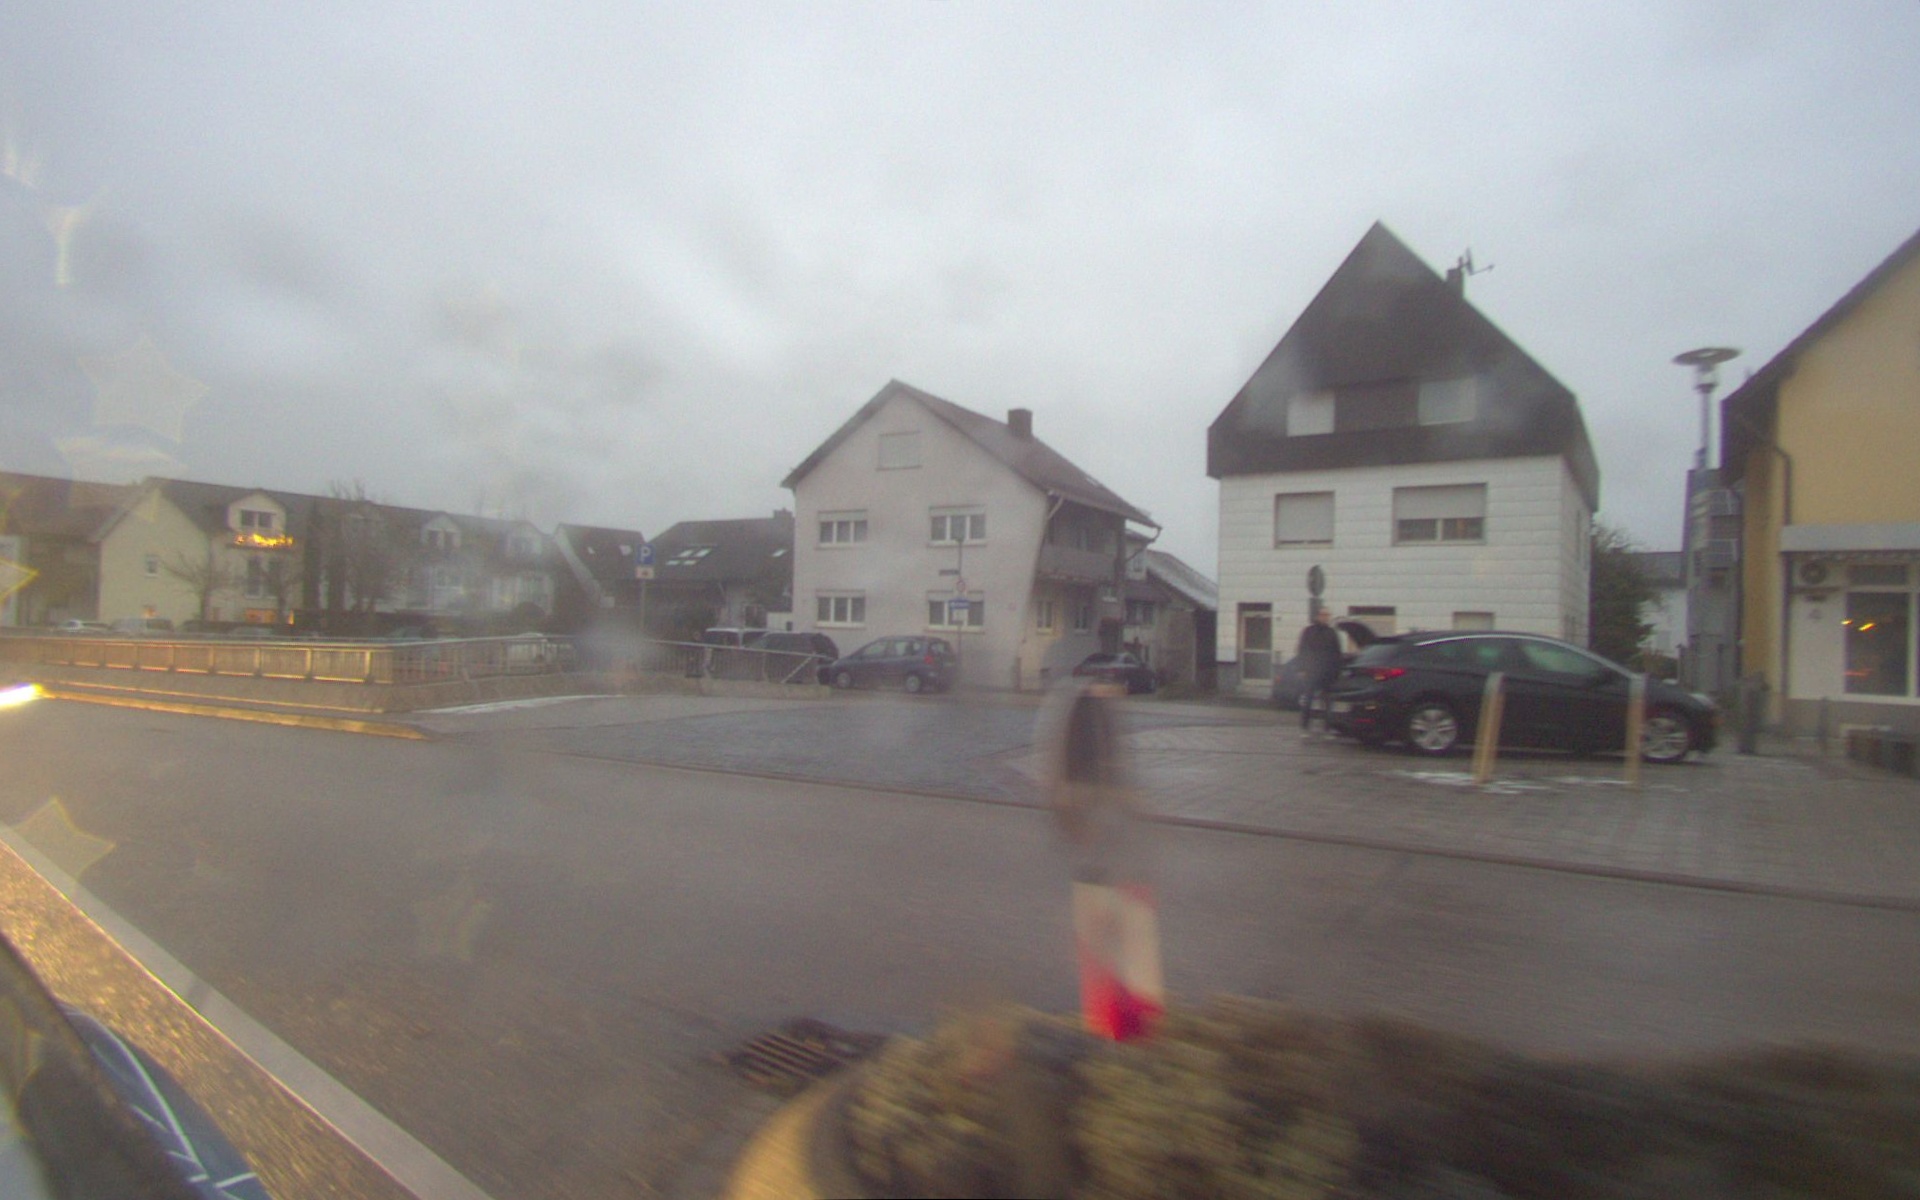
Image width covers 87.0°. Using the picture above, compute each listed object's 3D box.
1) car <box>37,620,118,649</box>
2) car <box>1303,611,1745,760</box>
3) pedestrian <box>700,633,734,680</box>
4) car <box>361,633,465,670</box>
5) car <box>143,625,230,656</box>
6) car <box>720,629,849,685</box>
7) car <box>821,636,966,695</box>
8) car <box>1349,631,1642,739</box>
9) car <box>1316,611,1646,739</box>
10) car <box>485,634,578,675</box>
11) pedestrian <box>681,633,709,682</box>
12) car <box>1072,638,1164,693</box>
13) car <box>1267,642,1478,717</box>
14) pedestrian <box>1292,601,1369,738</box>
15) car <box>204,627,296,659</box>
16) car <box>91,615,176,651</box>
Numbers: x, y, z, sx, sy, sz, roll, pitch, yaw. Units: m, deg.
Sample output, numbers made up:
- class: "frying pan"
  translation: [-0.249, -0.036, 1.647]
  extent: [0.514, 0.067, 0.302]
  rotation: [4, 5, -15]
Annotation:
- class: "car"
  translation: [-49.028, 1.913, 56.224]
  extent: [3.989, 1.480, 1.664]
  rotation: [0, -4, 22]
- class: "car"
  translation: [6.469, 0.955, 11.979]
  extent: [4.122, 1.543, 1.914]
  rotation: [1, -2, 1]
- class: "pedestrian"
  translation: [-6.687, 1.542, 27.860]
  extent: [0.601, 1.259, 0.685]
  rotation: [-1, -2, 34]
- class: "car"
  translation: [-23.608, 2.189, 43.656]
  extent: [4.234, 1.480, 1.784]
  rotation: [0, -2, 26]
- class: "car"
  translation: [-39.543, 2.064, 51.712]
  extent: [4.234, 1.480, 1.784]
  rotation: [0, -2, 26]
- class: "car"
  translation: [-5.696, 1.794, 32.765]
  extent: [3.943, 1.673, 1.687]
  rotation: [0, -1, 30]
- class: "car"
  translation: [-2.016, 1.903, 30.274]
  extent: [4.081, 1.581, 1.760]
  rotation: [0, -1, 33]
- class: "car"
  translation: [8.856, 1.403, 17.072]
  extent: [3.954, 1.644, 1.760]
  rotation: [0, -4, 9]
- class: "car"
  translation: [7.464, 1.081, 14.857]
  extent: [3.847, 1.683, 1.838]
  rotation: [1, -4, 4]
- class: "car"
  translation: [-16.760, 2.105, 39.572]
  extent: [3.488, 1.520, 1.464]
  rotation: [0, -2, 29]
- class: "pedestrian"
  translation: [-7.107, 1.537, 27.113]
  extent: [0.594, 1.312, 0.511]
  rotation: [0, -2, 1]
- class: "car"
  translation: [5.445, 2.270, 34.510]
  extent: [1.712, 1.695, 3.958]
  rotation: [2, -4, 31]
- class: "car"
  translation: [10.030, 1.870, 24.768]
  extent: [4.417, 1.511, 1.893]
  rotation: [-2, 1, 38]
- class: "pedestrian"
  translation: [4.877, 0.909, 13.306]
  extent: [0.838, 1.725, 0.717]
  rotation: [-1, -4, 30]
- class: "car"
  translation: [-34.660, 2.088, 49.404]
  extent: [4.234, 1.480, 1.784]
  rotation: [0, -2, 26]
- class: "car"
  translation: [-43.899, 1.748, 53.758]
  extent: [4.233, 1.841, 1.785]
  rotation: [0, -2, 25]
